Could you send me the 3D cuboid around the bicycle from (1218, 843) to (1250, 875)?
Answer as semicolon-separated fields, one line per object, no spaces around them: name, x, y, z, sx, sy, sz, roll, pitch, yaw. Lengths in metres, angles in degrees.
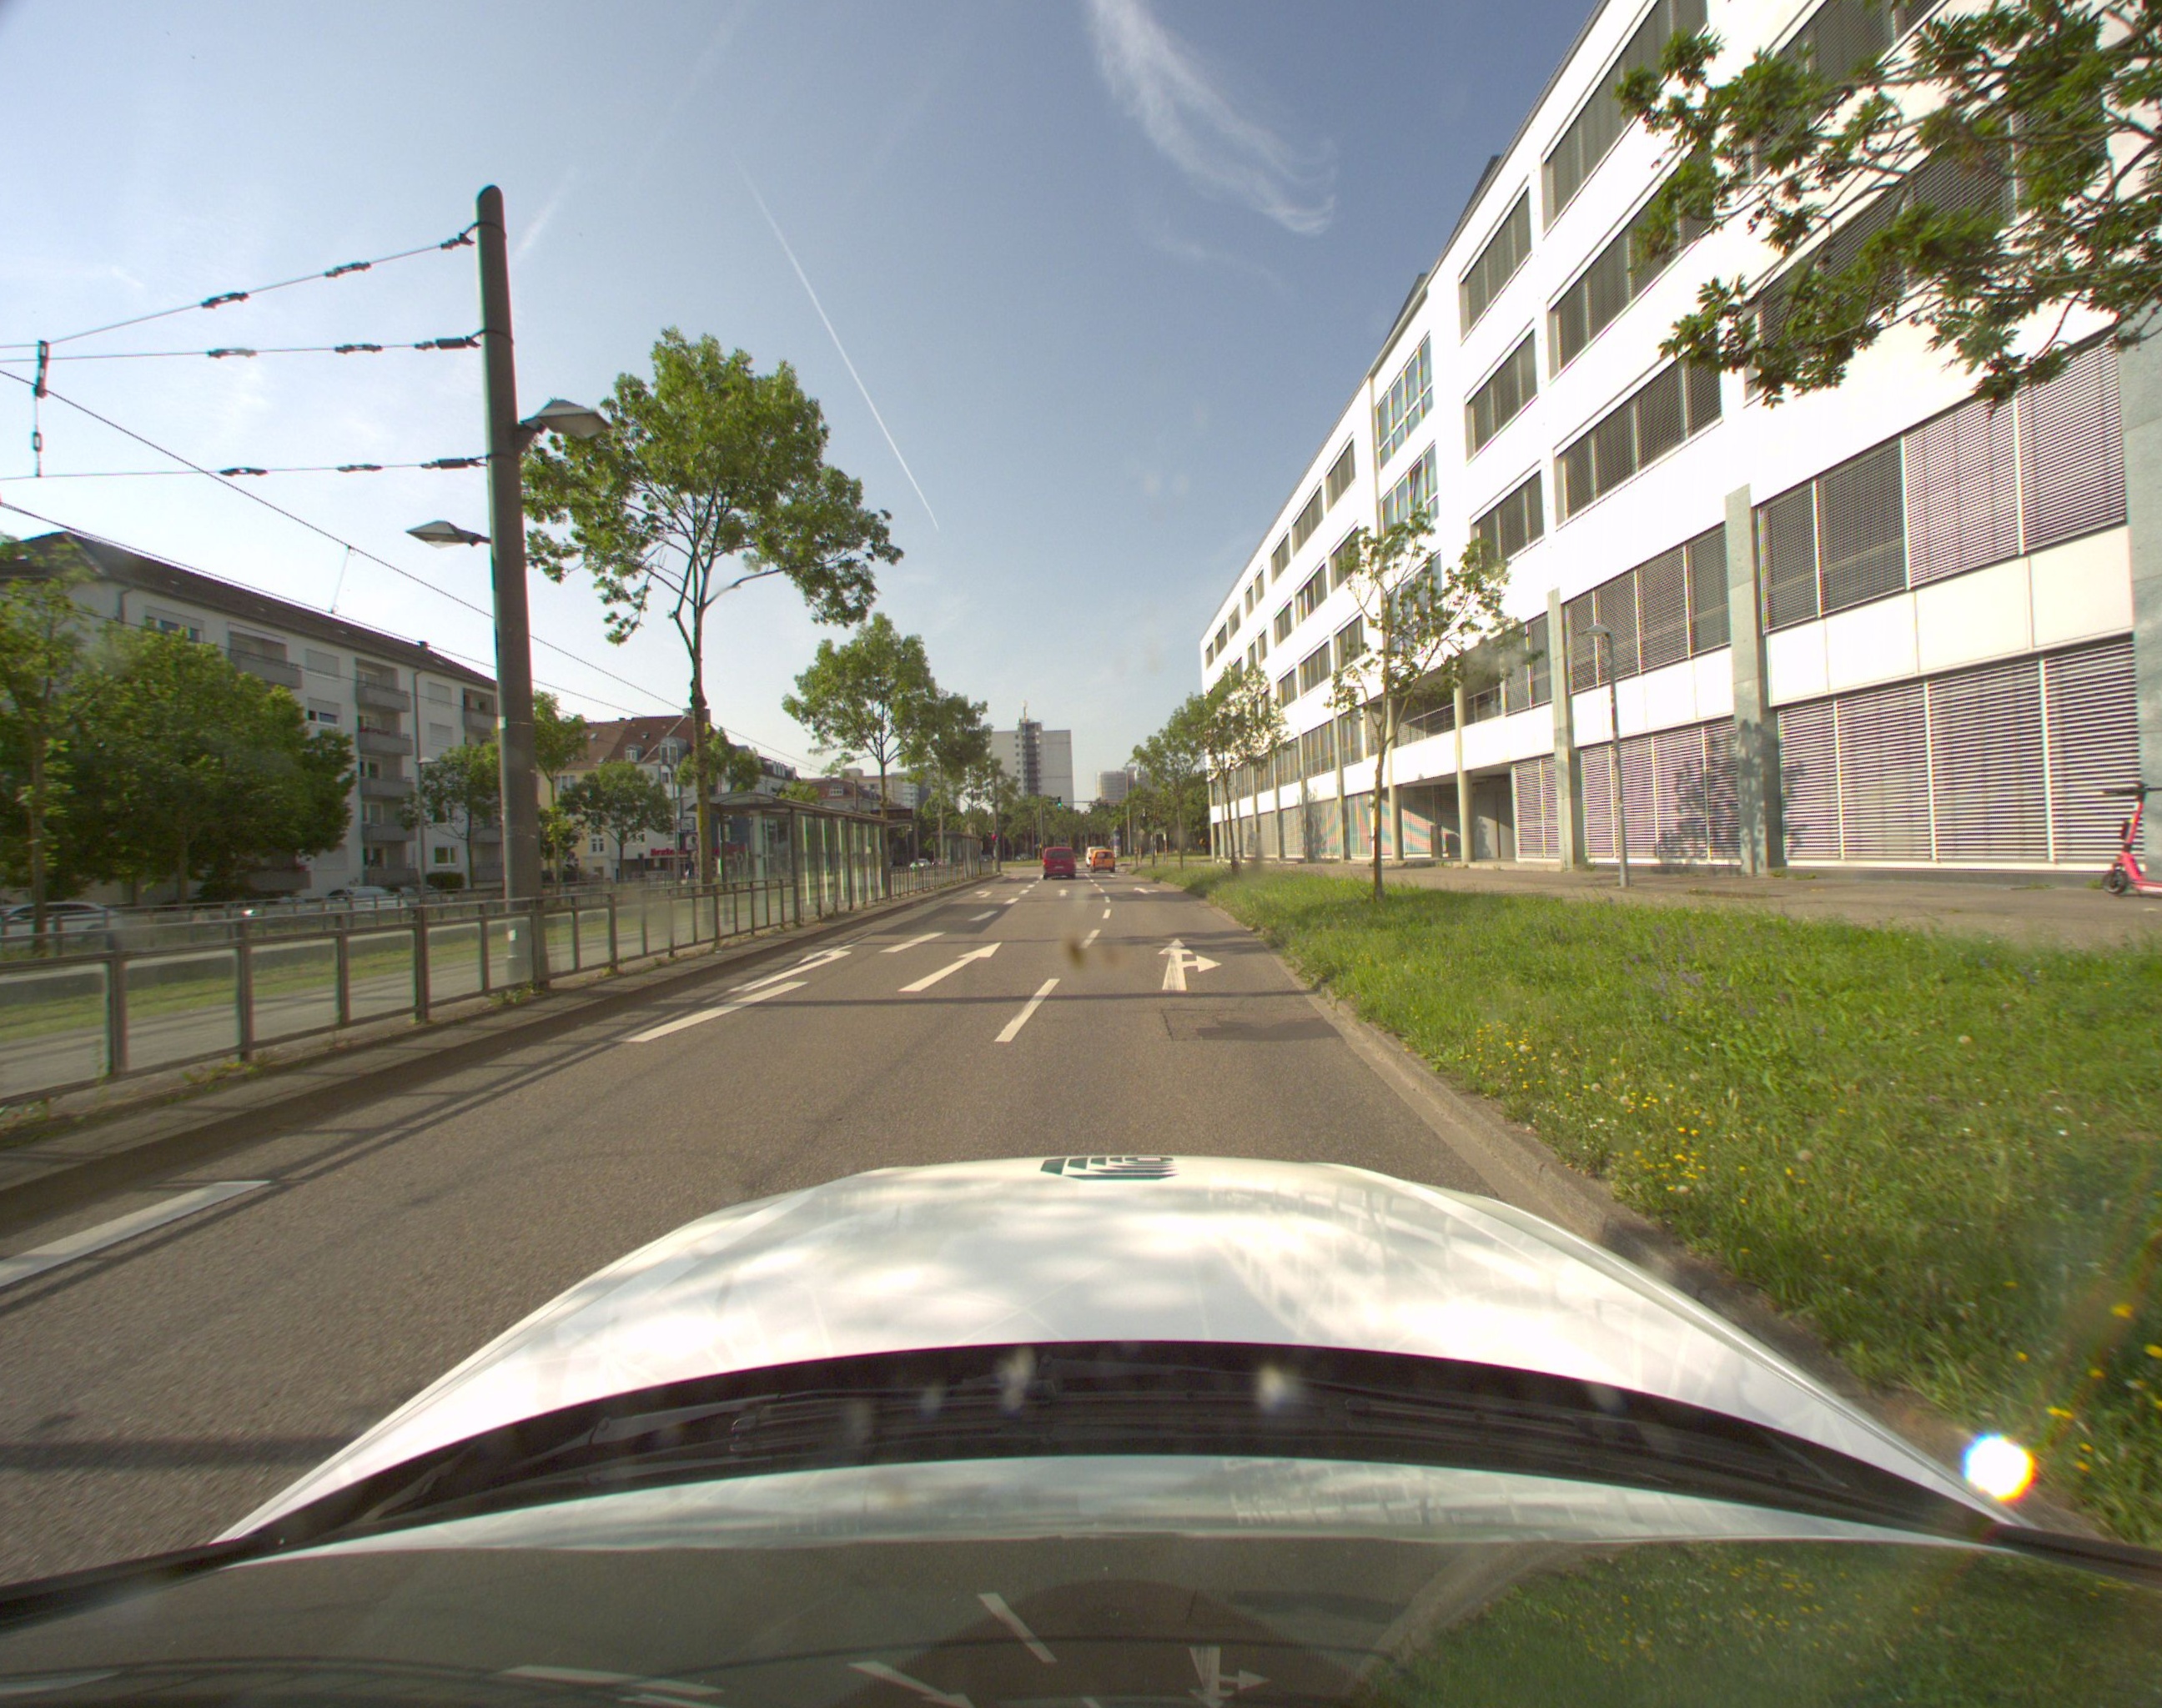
bicycle;5.135;0.179;27.430;0.616;1.017;1.878;-2;0;-2

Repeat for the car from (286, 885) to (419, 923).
car;-28.486;1.954;31.896;3.958;1.244;1.947;-2;0;14

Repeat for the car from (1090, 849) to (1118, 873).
car;1.668;0.499;60.764;1.870;1.696;3.972;-2;0;-1

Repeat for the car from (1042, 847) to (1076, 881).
car;-1.318;0.566;48.376;1.870;1.853;3.996;-2;0;-2

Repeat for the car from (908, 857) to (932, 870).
car;-19.854;1.166;100.366;1.985;1.596;4.052;-1;0;3

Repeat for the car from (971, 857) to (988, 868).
car;-16.711;1.388;133.996;1.865;1.574;4.008;-3;0;7

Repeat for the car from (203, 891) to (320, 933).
car;-28.636;2.010;28.452;3.949;1.244;1.844;-2;0;29

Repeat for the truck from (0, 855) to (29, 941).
truck;-33.367;1.326;21.317;2.359;2.563;7.235;-1;0;-2

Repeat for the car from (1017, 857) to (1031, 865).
car;-11.074;1.310;158.812;1.865;1.574;4.008;-1;0;7

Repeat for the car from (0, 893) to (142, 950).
car;-30.418;1.935;23.198;1.975;1.379;4.680;-1;0;-2

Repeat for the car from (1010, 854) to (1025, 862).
car;-12.893;0.753;166.109;1.862;1.574;4.236;-2;0;13

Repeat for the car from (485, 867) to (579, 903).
car;-34.057;1.868;50.721;2.359;2.030;5.307;-1;0;-2

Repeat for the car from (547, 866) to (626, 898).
car;-34.324;1.899;56.709;2.359;2.030;5.307;-1;0;-2

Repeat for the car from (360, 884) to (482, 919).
car;-27.911;2.005;34.490;3.958;1.244;1.947;-2;0;14

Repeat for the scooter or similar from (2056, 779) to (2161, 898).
scooter or similar;11.269;-0.171;8.589;0.460;1.213;1.256;-4;0;5

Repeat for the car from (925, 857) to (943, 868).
car;-22.054;1.289;122.260;1.868;1.574;4.002;-2;0;2

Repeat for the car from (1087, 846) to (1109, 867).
car;1.692;0.235;81.065;1.988;2.014;3.998;-1;0;-1
